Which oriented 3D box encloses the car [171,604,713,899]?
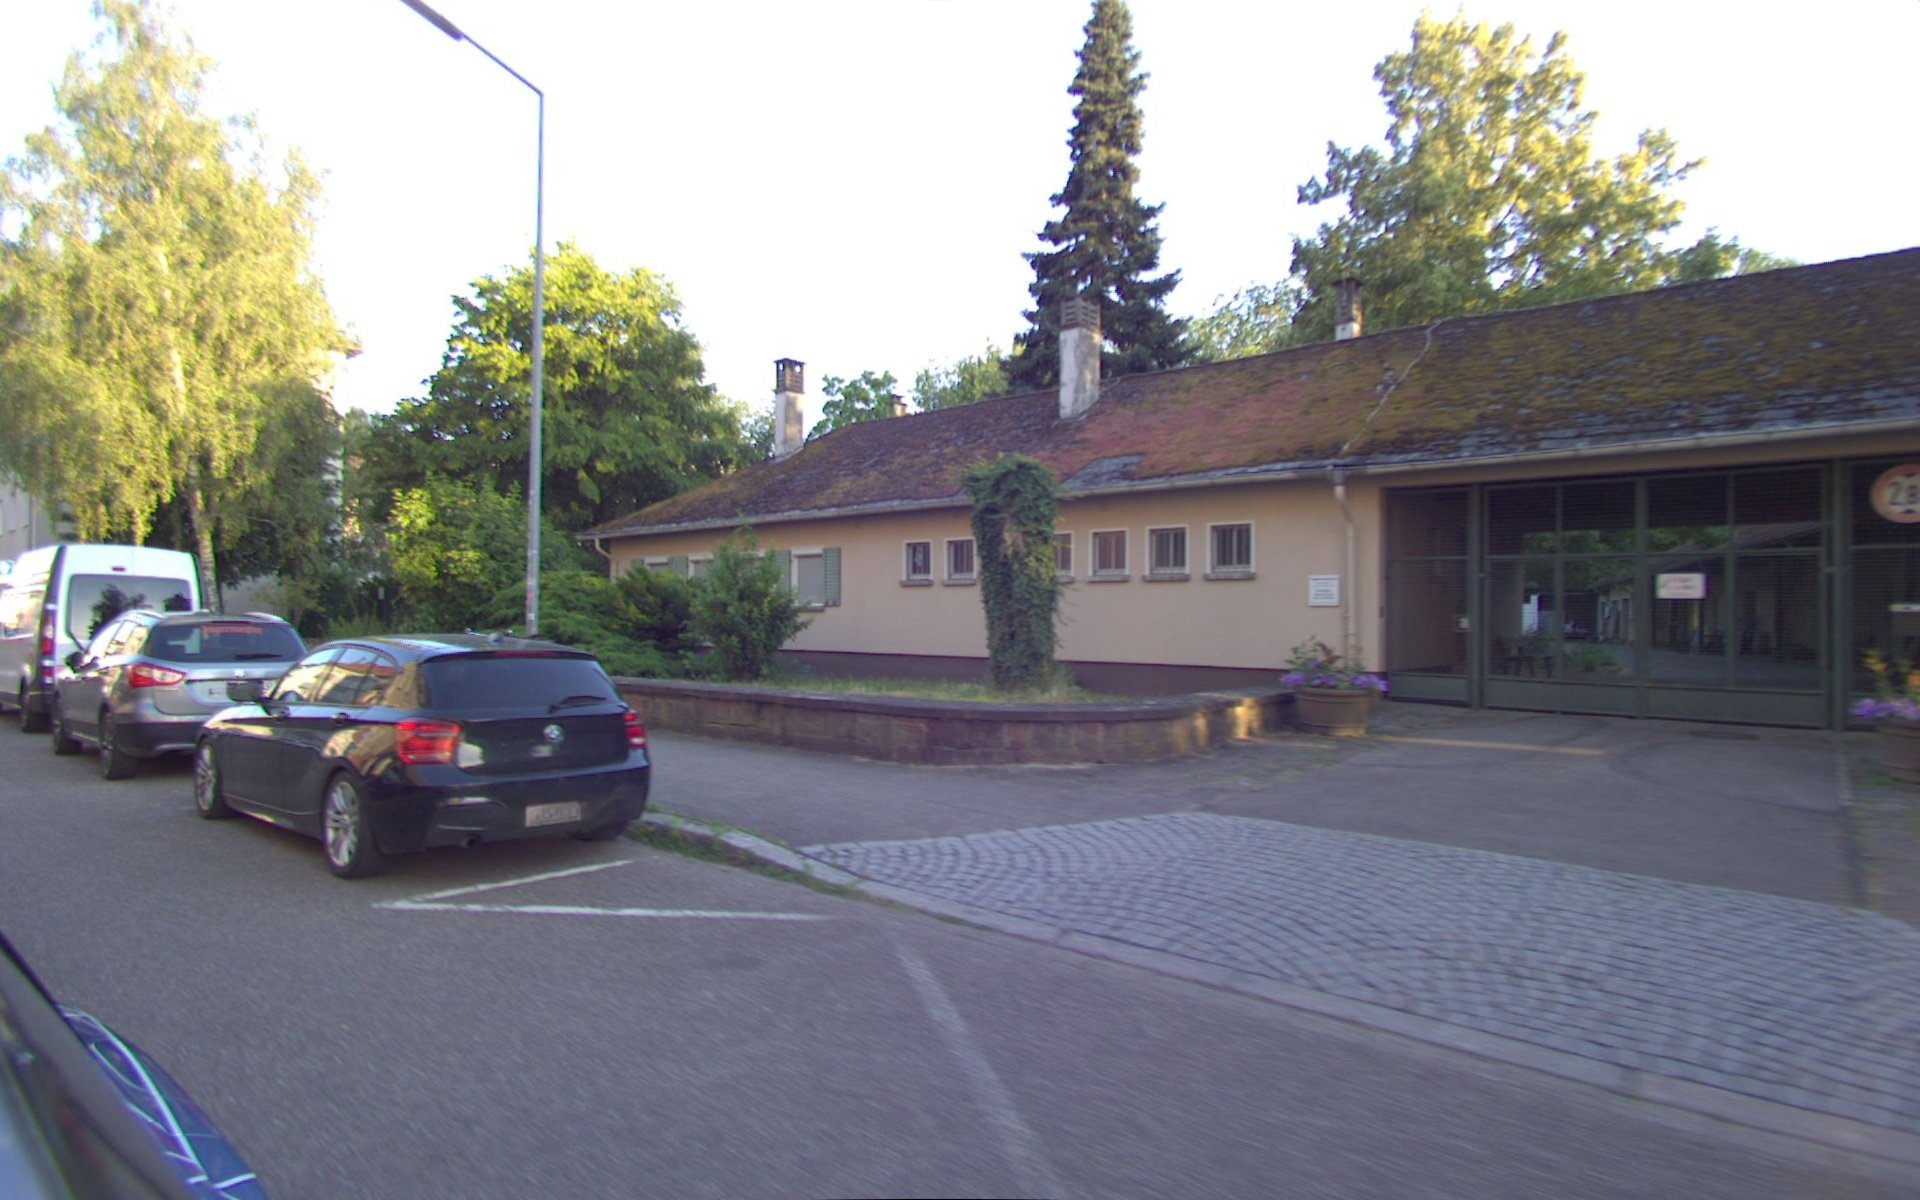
[{"bbox_3d":[-3.848,0.786,7.183,4.285,1.464,1.973,-1,-1,41],"label":"car"}]

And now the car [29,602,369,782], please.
[{"bbox_3d":[-8.371,0.822,10.952,4.786,1.530,1.973,-1,-1,41],"label":"car"}]

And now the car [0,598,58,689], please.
[{"bbox_3d":[-21.041,0.901,21.585,4.944,1.801,1.891,-1,-3,39],"label":"car"}]

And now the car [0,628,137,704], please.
[{"bbox_3d":[-16.877,1.128,18.391,4.027,1.198,1.976,-1,-1,35],"label":"car"}]

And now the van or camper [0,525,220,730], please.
[{"bbox_3d":[-13.021,0.397,14.946,6.078,2.475,1.973,-1,-2,40],"label":"van or camper"}]

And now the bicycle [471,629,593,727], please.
[{"bbox_3d":[-5.371,0.934,12.642,1.953,1.126,0.538,-1,-1,39],"label":"bicycle"}]
